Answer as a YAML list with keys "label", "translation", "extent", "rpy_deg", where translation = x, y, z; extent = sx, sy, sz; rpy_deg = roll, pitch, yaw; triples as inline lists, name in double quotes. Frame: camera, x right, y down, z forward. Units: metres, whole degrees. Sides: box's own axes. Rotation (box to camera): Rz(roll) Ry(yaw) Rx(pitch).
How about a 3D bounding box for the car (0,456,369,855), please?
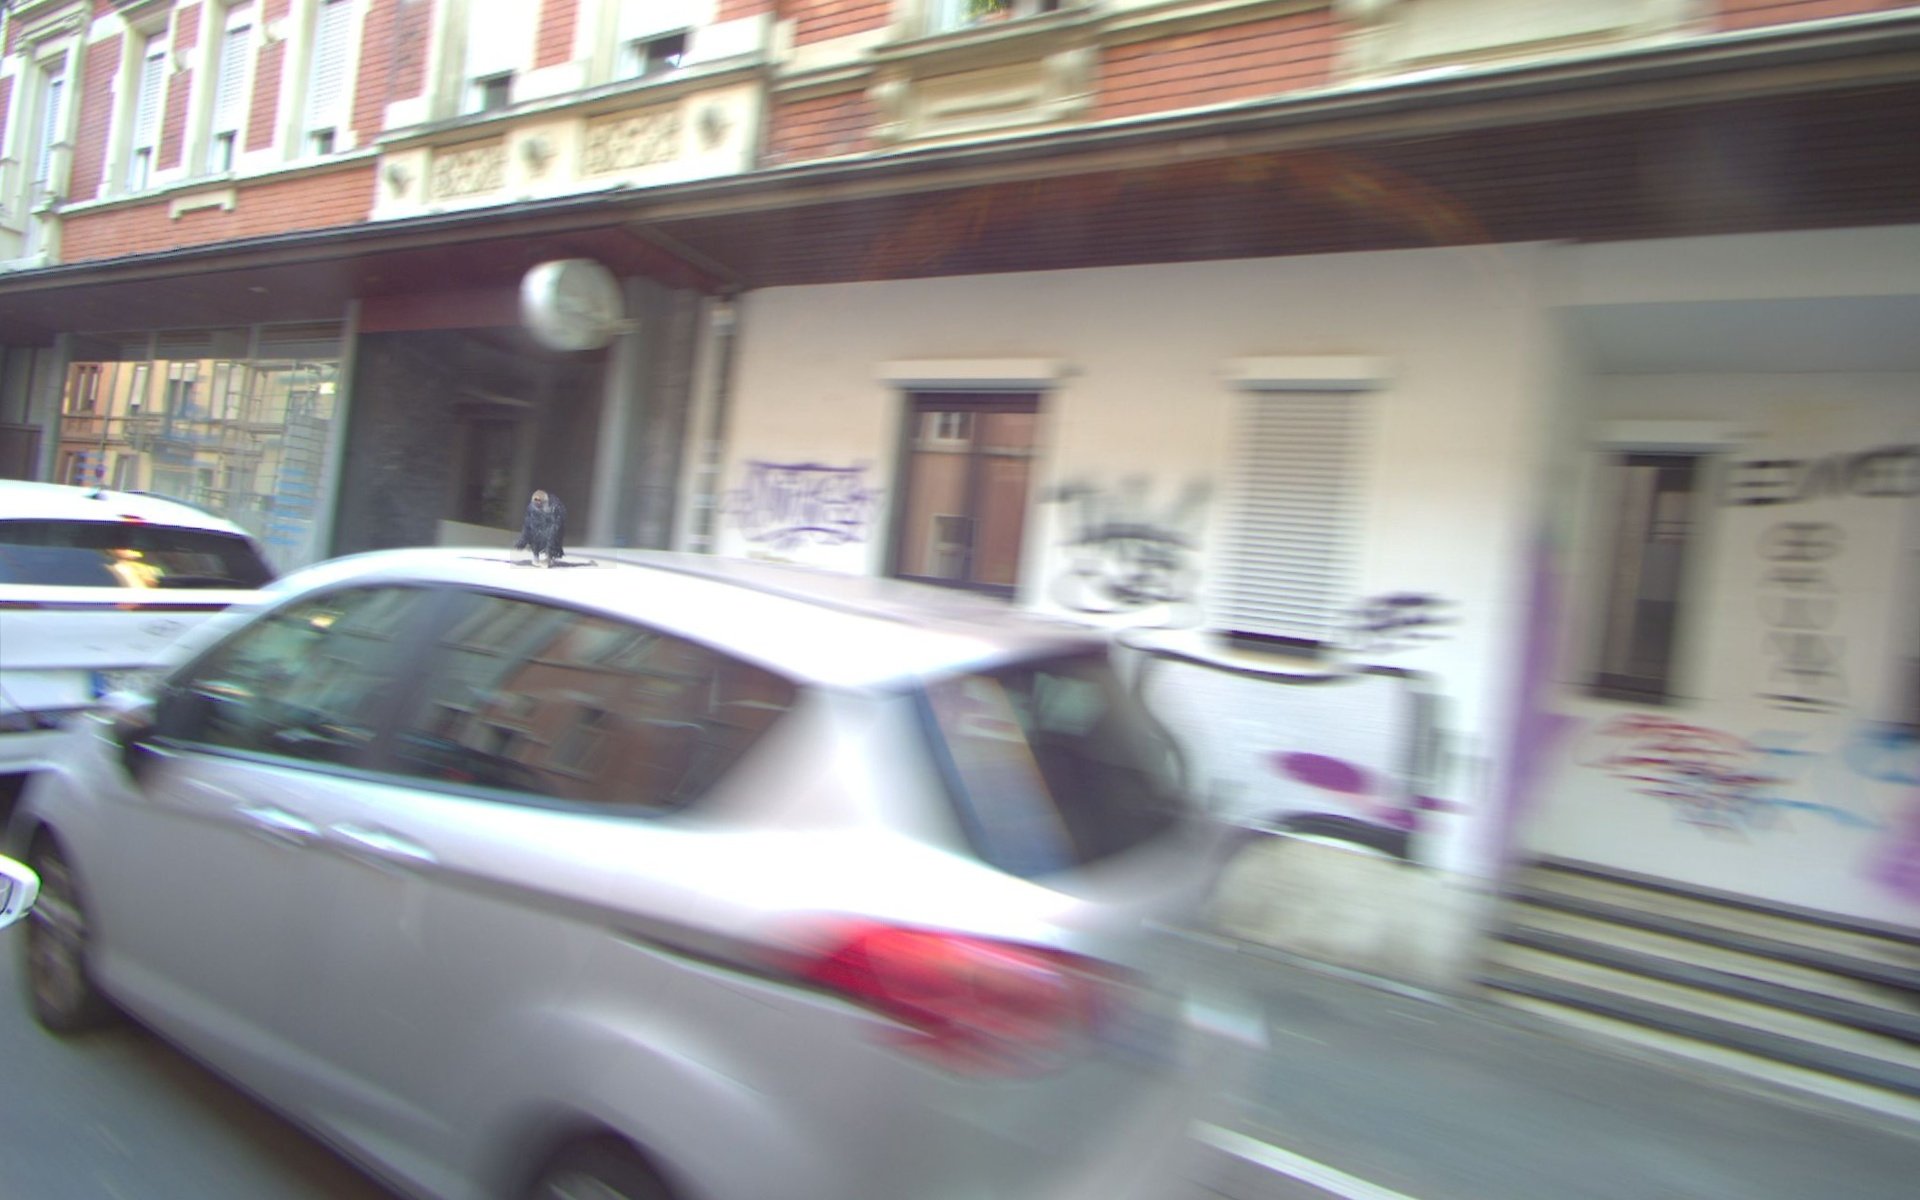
- label: "car"
  translation: [-5.588, 0.081, 5.844]
  extent: [4.267, 1.696, 1.749]
  rpy_deg: [7, 0, 31]

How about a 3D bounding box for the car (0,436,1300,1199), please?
- label: "car"
  translation: [-1.210, 0.557, 2.980]
  extent: [3.804, 1.676, 1.643]
  rpy_deg: [7, -1, 30]
